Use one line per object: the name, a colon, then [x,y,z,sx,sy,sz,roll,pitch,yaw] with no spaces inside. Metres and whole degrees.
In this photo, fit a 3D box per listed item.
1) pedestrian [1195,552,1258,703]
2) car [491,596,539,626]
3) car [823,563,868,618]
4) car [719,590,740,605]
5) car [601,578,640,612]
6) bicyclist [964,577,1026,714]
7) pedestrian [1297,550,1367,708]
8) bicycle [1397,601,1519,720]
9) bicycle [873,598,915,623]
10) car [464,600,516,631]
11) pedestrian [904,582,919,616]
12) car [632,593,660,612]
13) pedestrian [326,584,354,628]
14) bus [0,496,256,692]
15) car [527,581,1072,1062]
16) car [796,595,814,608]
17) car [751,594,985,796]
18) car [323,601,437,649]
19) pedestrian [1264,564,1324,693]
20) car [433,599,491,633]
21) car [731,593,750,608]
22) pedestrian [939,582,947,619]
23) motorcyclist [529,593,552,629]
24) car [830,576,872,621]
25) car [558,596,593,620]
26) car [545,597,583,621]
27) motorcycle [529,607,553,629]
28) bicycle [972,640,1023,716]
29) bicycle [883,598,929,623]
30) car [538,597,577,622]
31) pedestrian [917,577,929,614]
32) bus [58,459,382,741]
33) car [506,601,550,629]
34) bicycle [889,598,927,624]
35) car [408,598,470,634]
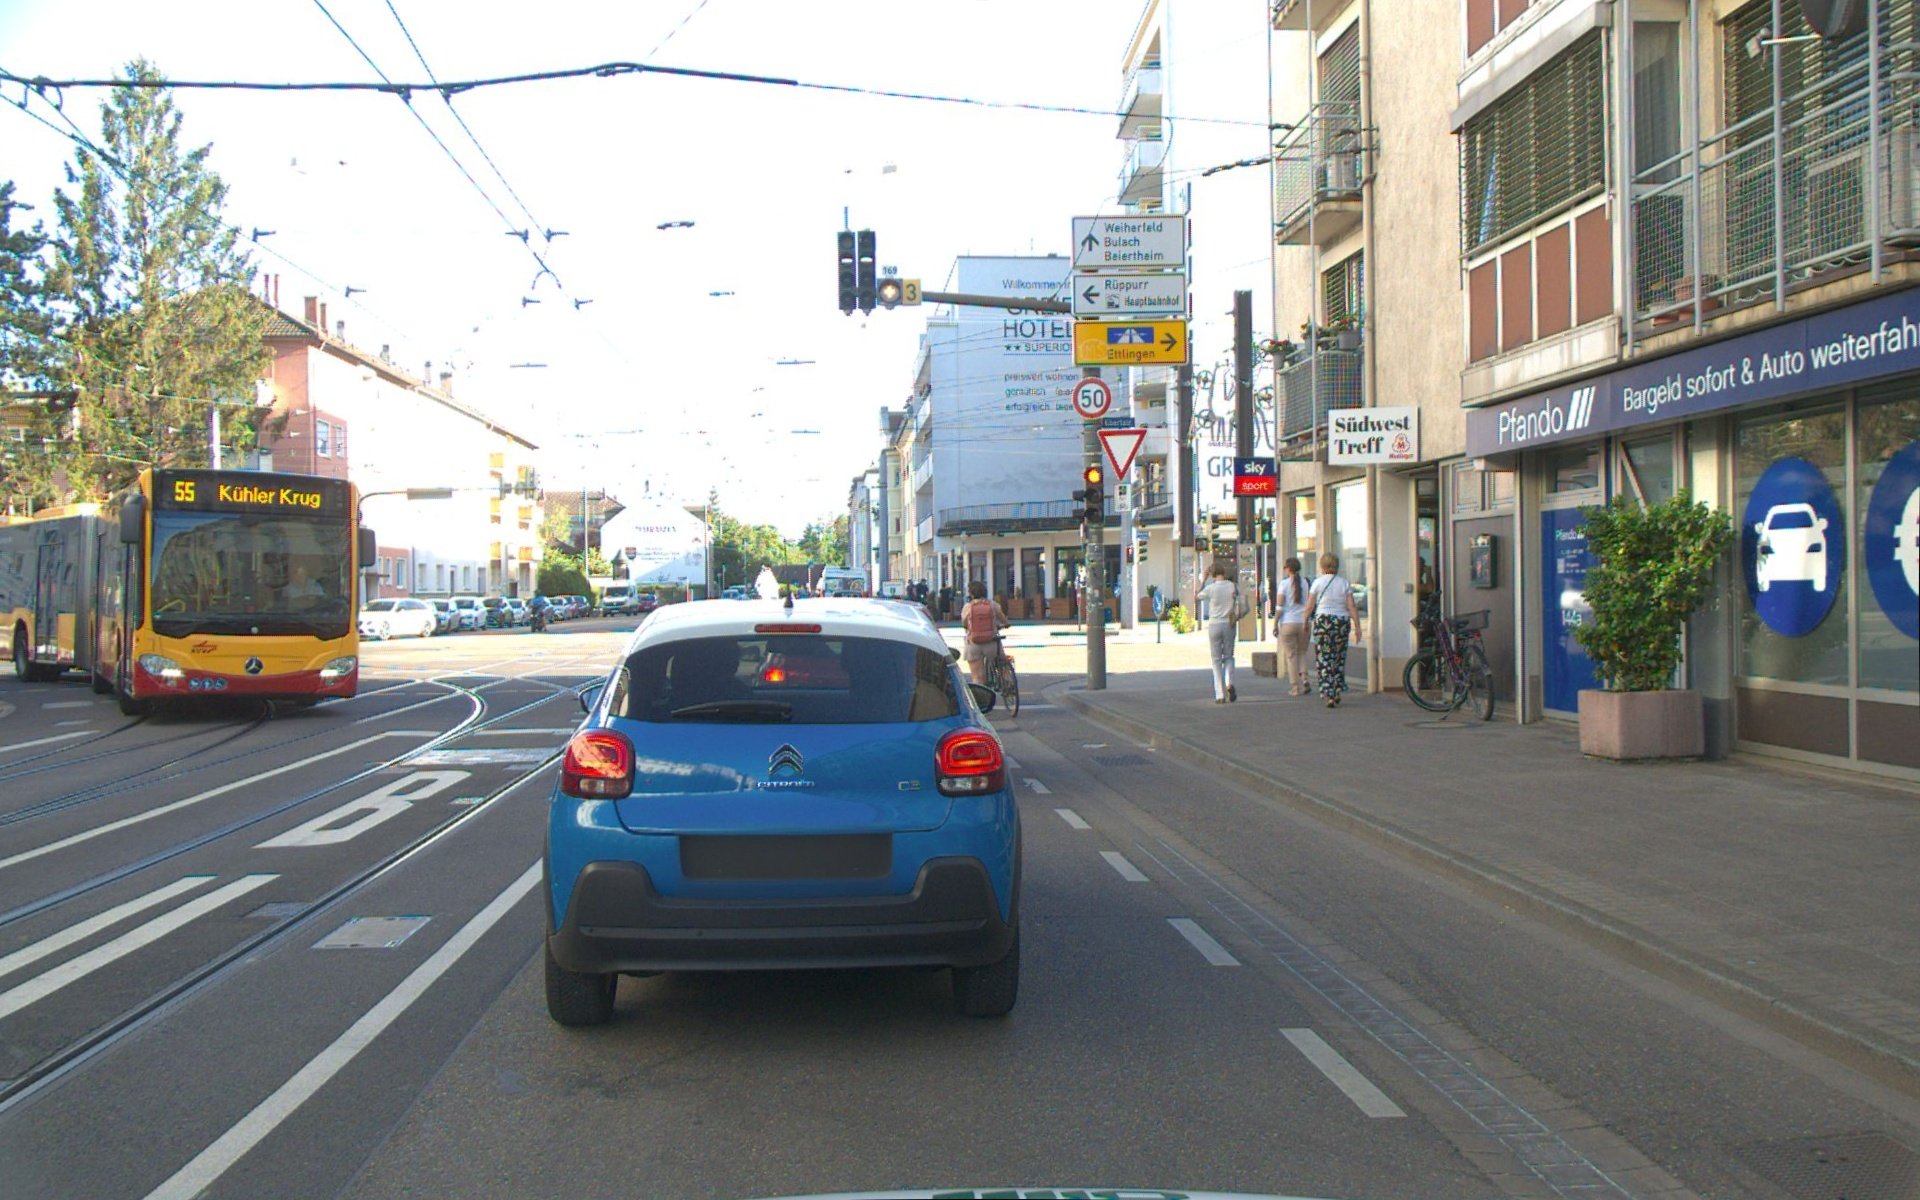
pedestrian: [3.110,0.310,19.333,0.530,1.701,0.624,-3,2,-3]
car: [-24.735,0.597,92.007,1.874,1.523,3.995,-1,1,-6]
car: [-5.062,-0.418,72.897,1.954,2.366,3.996,0,0,-5]
car: [-23.585,-0.257,169.362,1.982,1.552,3.996,-1,0,-5]
car: [-24.437,-0.373,119.212,2.164,2.290,4.672,-1,0,-5]
bicyclist: [0.433,0.561,20.888,0.711,1.674,0.790,-1,0,-2]
pedestrian: [4.138,0.313,18.432,0.530,1.701,0.650,-3,0,-3]
bicycle: [4.921,0.569,16.443,0.520,1.091,1.809,-1,0,-5]
bicycle: [-2.750,0.439,68.929,1.685,0.973,0.702,-1,0,0]
car: [-24.380,0.778,85.878,1.874,1.523,3.995,-1,1,-6]
pedestrian: [-2.206,-0.046,75.861,0.481,1.583,0.648,-1,0,16]
car: [-27.402,0.196,144.273,1.982,1.552,3.996,-1,0,-5]
pedestrian: [-24.440,0.238,65.203,0.826,1.720,0.737,-1,0,1]
bus: [-15.924,-0.105,30.953,2.724,3.217,7.460,-1,1,-42]
car: [-0.740,0.675,7.215,1.711,1.488,3.993,0,0,-7]
car: [-15.911,0.161,169.761,1.722,1.281,3.825,-1,0,-8]
car: [-0.727,0.692,14.191,1.703,1.445,3.999,-1,0,-2]
car: [-20.678,0.863,59.206,1.810,1.601,4.405,-1,0,12]
pedestrian: [4.110,0.335,20.381,0.530,1.534,0.611,-3,2,-3]
car: [-23.761,0.725,79.112,1.874,1.523,3.995,-1,1,-6]
car: [-24.769,0.061,186.747,1.982,1.552,3.996,-1,1,-5]
pedestrian: [-0.717,0.034,70.704,0.279,1.583,0.304,-1,0,-10]
motorcyclist: [-17.055,0.442,67.244,0.704,1.402,0.911,-1,0,-1]
car: [-4.507,-0.060,67.997,1.698,1.780,3.210,0,0,-5]
car: [-26.932,0.531,116.017,1.834,1.601,3.996,-1,0,-5]
car: [-26.553,0.590,110.935,1.874,1.523,3.995,-1,1,-6]
motorcycle: [-17.064,0.733,67.399,0.603,0.879,1.670,-1,0,-1]
bicycle: [0.466,0.982,21.247,0.489,0.879,1.747,-1,0,-4]
bicycle: [-2.199,0.437,67.586,1.835,0.973,0.702,-1,0,0]
car: [-25.767,0.592,105.957,1.874,1.523,3.995,-1,1,-6]
pedestrian: [-1.571,-0.186,70.463,0.482,1.583,0.383,-1,0,-5]
bus: [-10.983,-0.017,23.800,2.697,3.213,10.078,-1,1,-33]
car: [-25.465,0.861,97.560,1.874,1.523,3.995,-1,1,-6]
bicycle: [-2.082,0.439,66.529,1.473,0.973,0.702,-1,0,0]
car: [-23.428,0.705,74.497,1.874,1.523,3.995,-1,1,-6]
